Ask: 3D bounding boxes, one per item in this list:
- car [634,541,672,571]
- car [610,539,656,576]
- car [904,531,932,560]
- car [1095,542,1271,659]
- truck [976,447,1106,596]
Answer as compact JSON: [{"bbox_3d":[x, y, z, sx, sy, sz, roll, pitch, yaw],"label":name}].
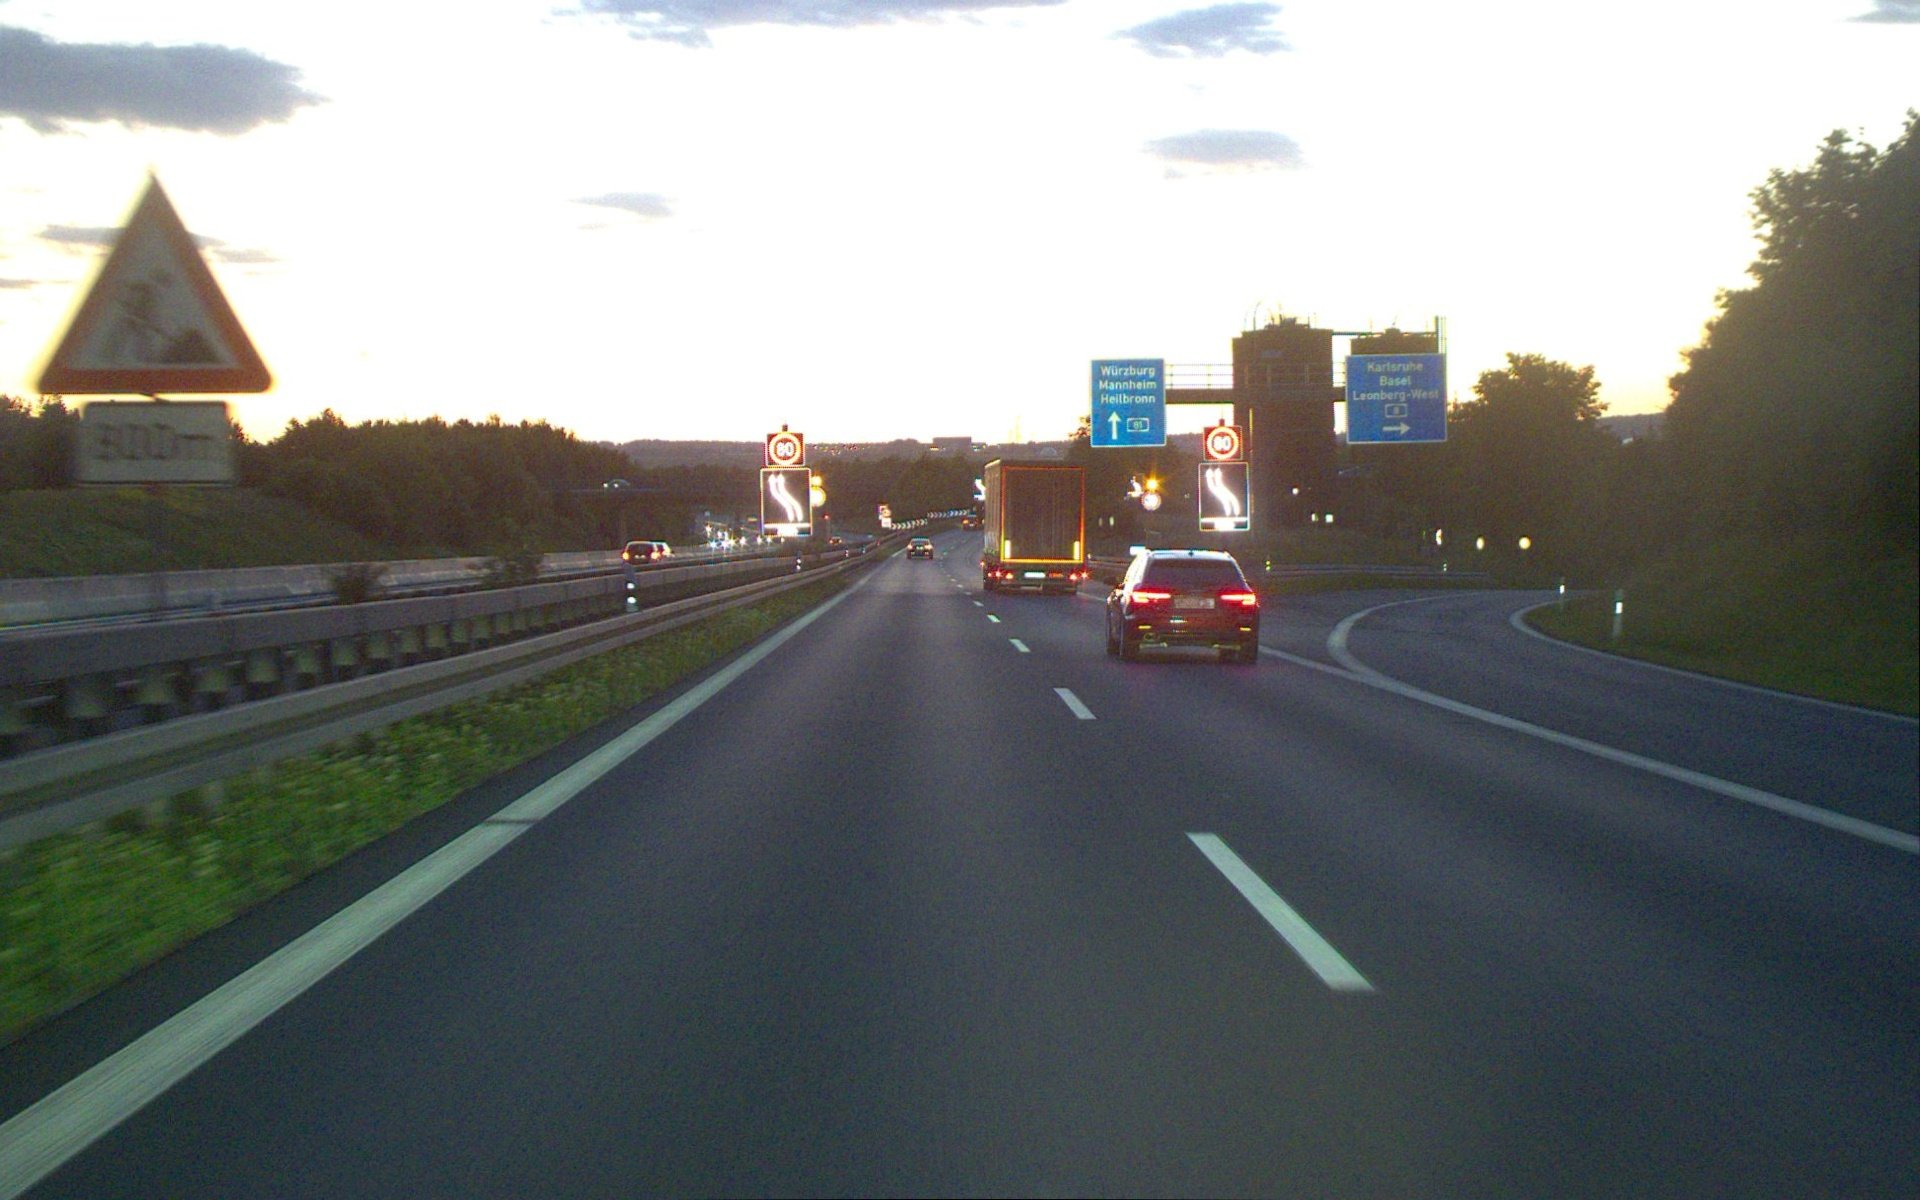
[{"bbox_3d":[-16.066,-2.313,180.113,1.638,1.541,3.395,-1,1,0],"label":"car"},{"bbox_3d":[-14.632,-1.925,153.995,1.713,1.600,3.722,-1,1,-1],"label":"car"},{"bbox_3d":[-3.045,-3.966,249.162,1.993,2.007,4.000,-1,1,-1],"label":"car"},{"bbox_3d":[2.915,-0.020,45.664,1.915,1.437,4.000,-1,1,-2],"label":"car"},{"bbox_3d":[2.402,-2.381,106.107,3.509,4.286,9.892,-1,1,-1],"label":"truck"}]
